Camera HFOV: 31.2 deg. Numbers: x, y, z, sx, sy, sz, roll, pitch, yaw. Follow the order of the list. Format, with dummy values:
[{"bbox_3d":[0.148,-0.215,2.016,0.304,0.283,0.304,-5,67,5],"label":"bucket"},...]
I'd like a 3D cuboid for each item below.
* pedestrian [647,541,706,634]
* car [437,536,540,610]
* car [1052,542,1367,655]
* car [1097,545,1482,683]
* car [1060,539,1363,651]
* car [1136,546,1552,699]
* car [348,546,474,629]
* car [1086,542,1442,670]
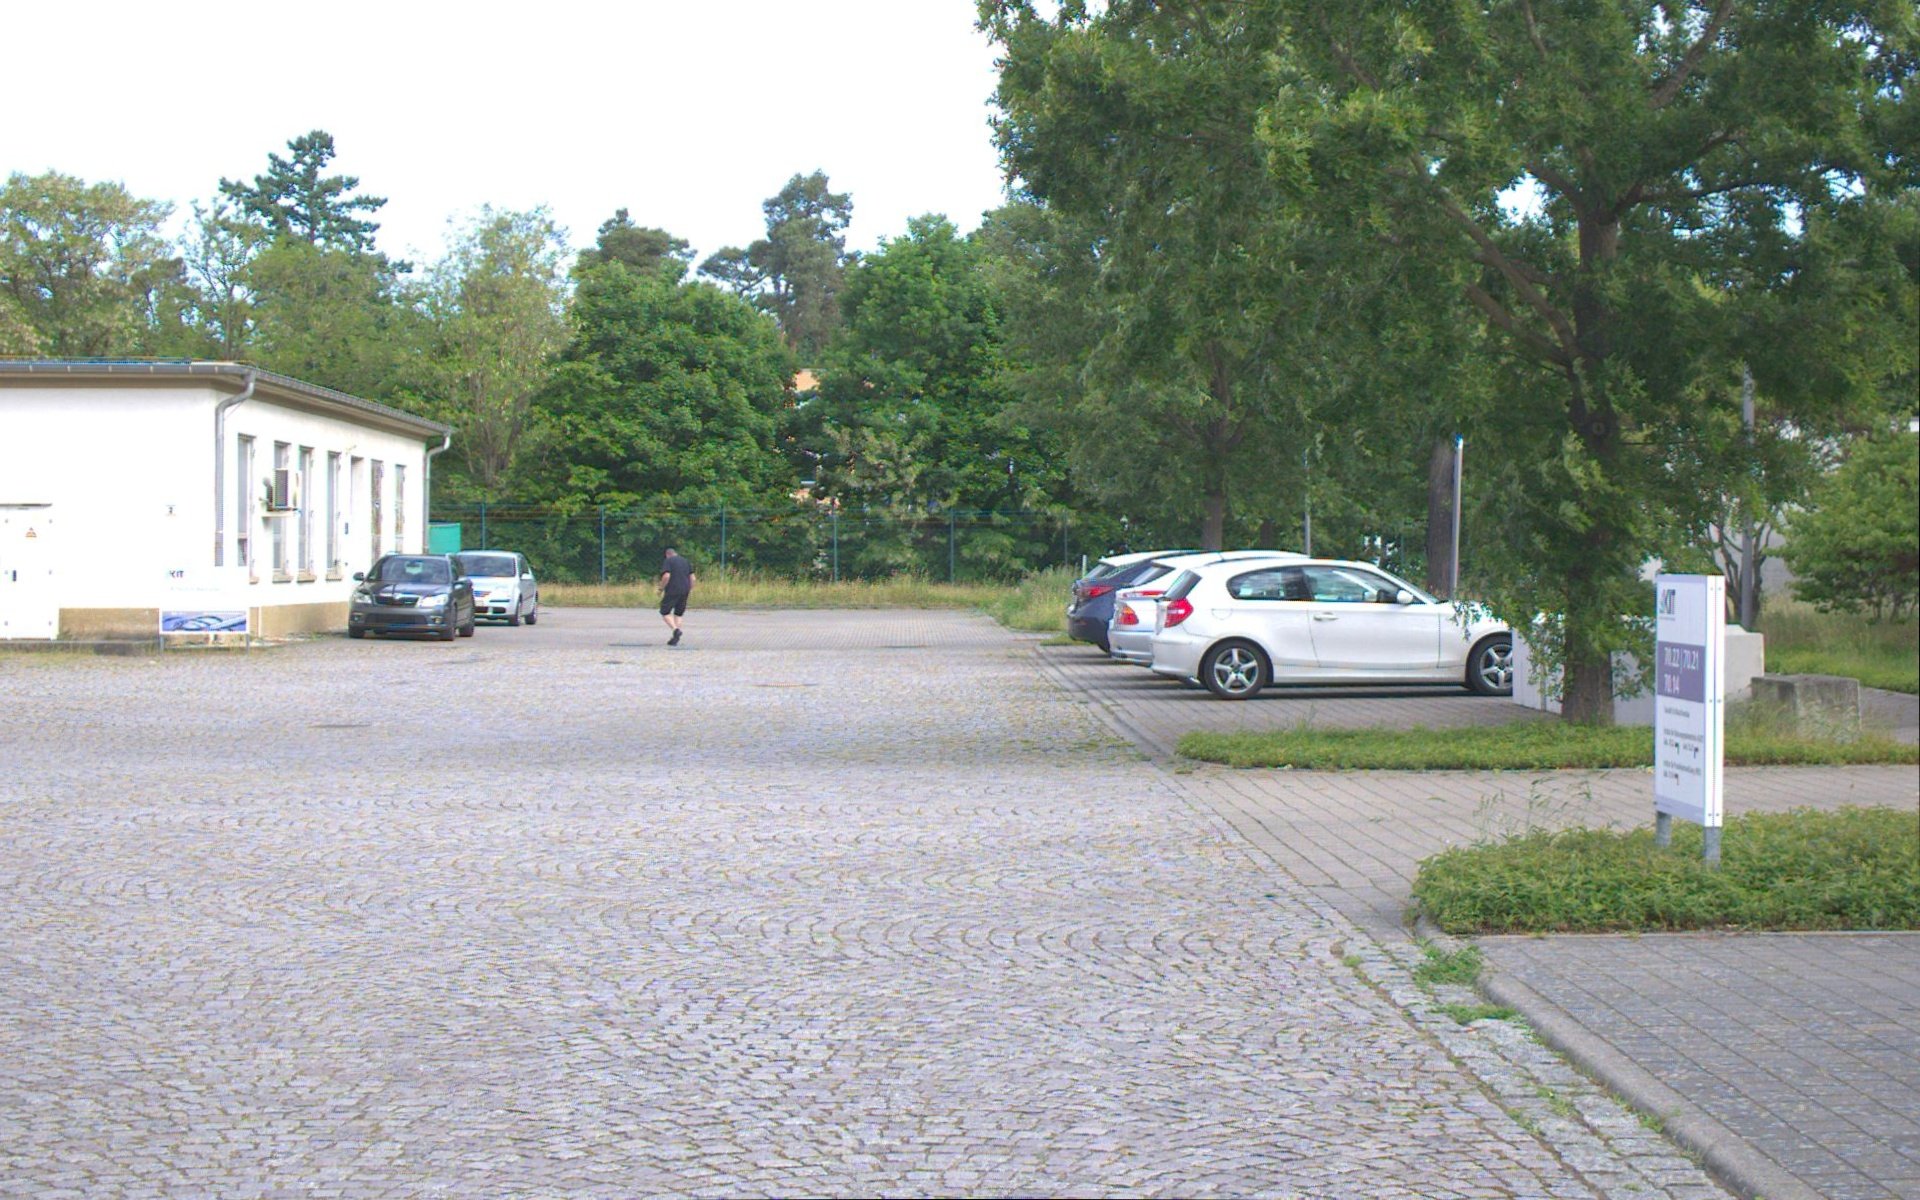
[{"bbox_3d":[-4.856,-0.219,58.907,0.940,1.563,0.971,0,1,0],"label":"pedestrian"},{"bbox_3d":[-9.454,-0.549,69.124,1.748,1.449,4.001,0,1,-3],"label":"car"},{"bbox_3d":[3.240,-0.034,45.175,3.987,1.450,1.770,0,1,0],"label":"car"},{"bbox_3d":[3.518,0.138,37.234,3.987,1.450,1.697,0,1,0],"label":"car"},{"bbox_3d":[3.503,-0.078,48.393,3.986,1.528,2.000,0,1,-5],"label":"car"},{"bbox_3d":[3.856,0.221,35.070,3.987,1.450,2.000,1,0,0],"label":"car"},{"bbox_3d":[-9.371,-0.230,58.895,1.748,1.359,4.001,0,1,-3],"label":"car"},{"bbox_3d":[3.516,0.057,40.274,3.987,1.450,1.770,0,1,0],"label":"car"}]
